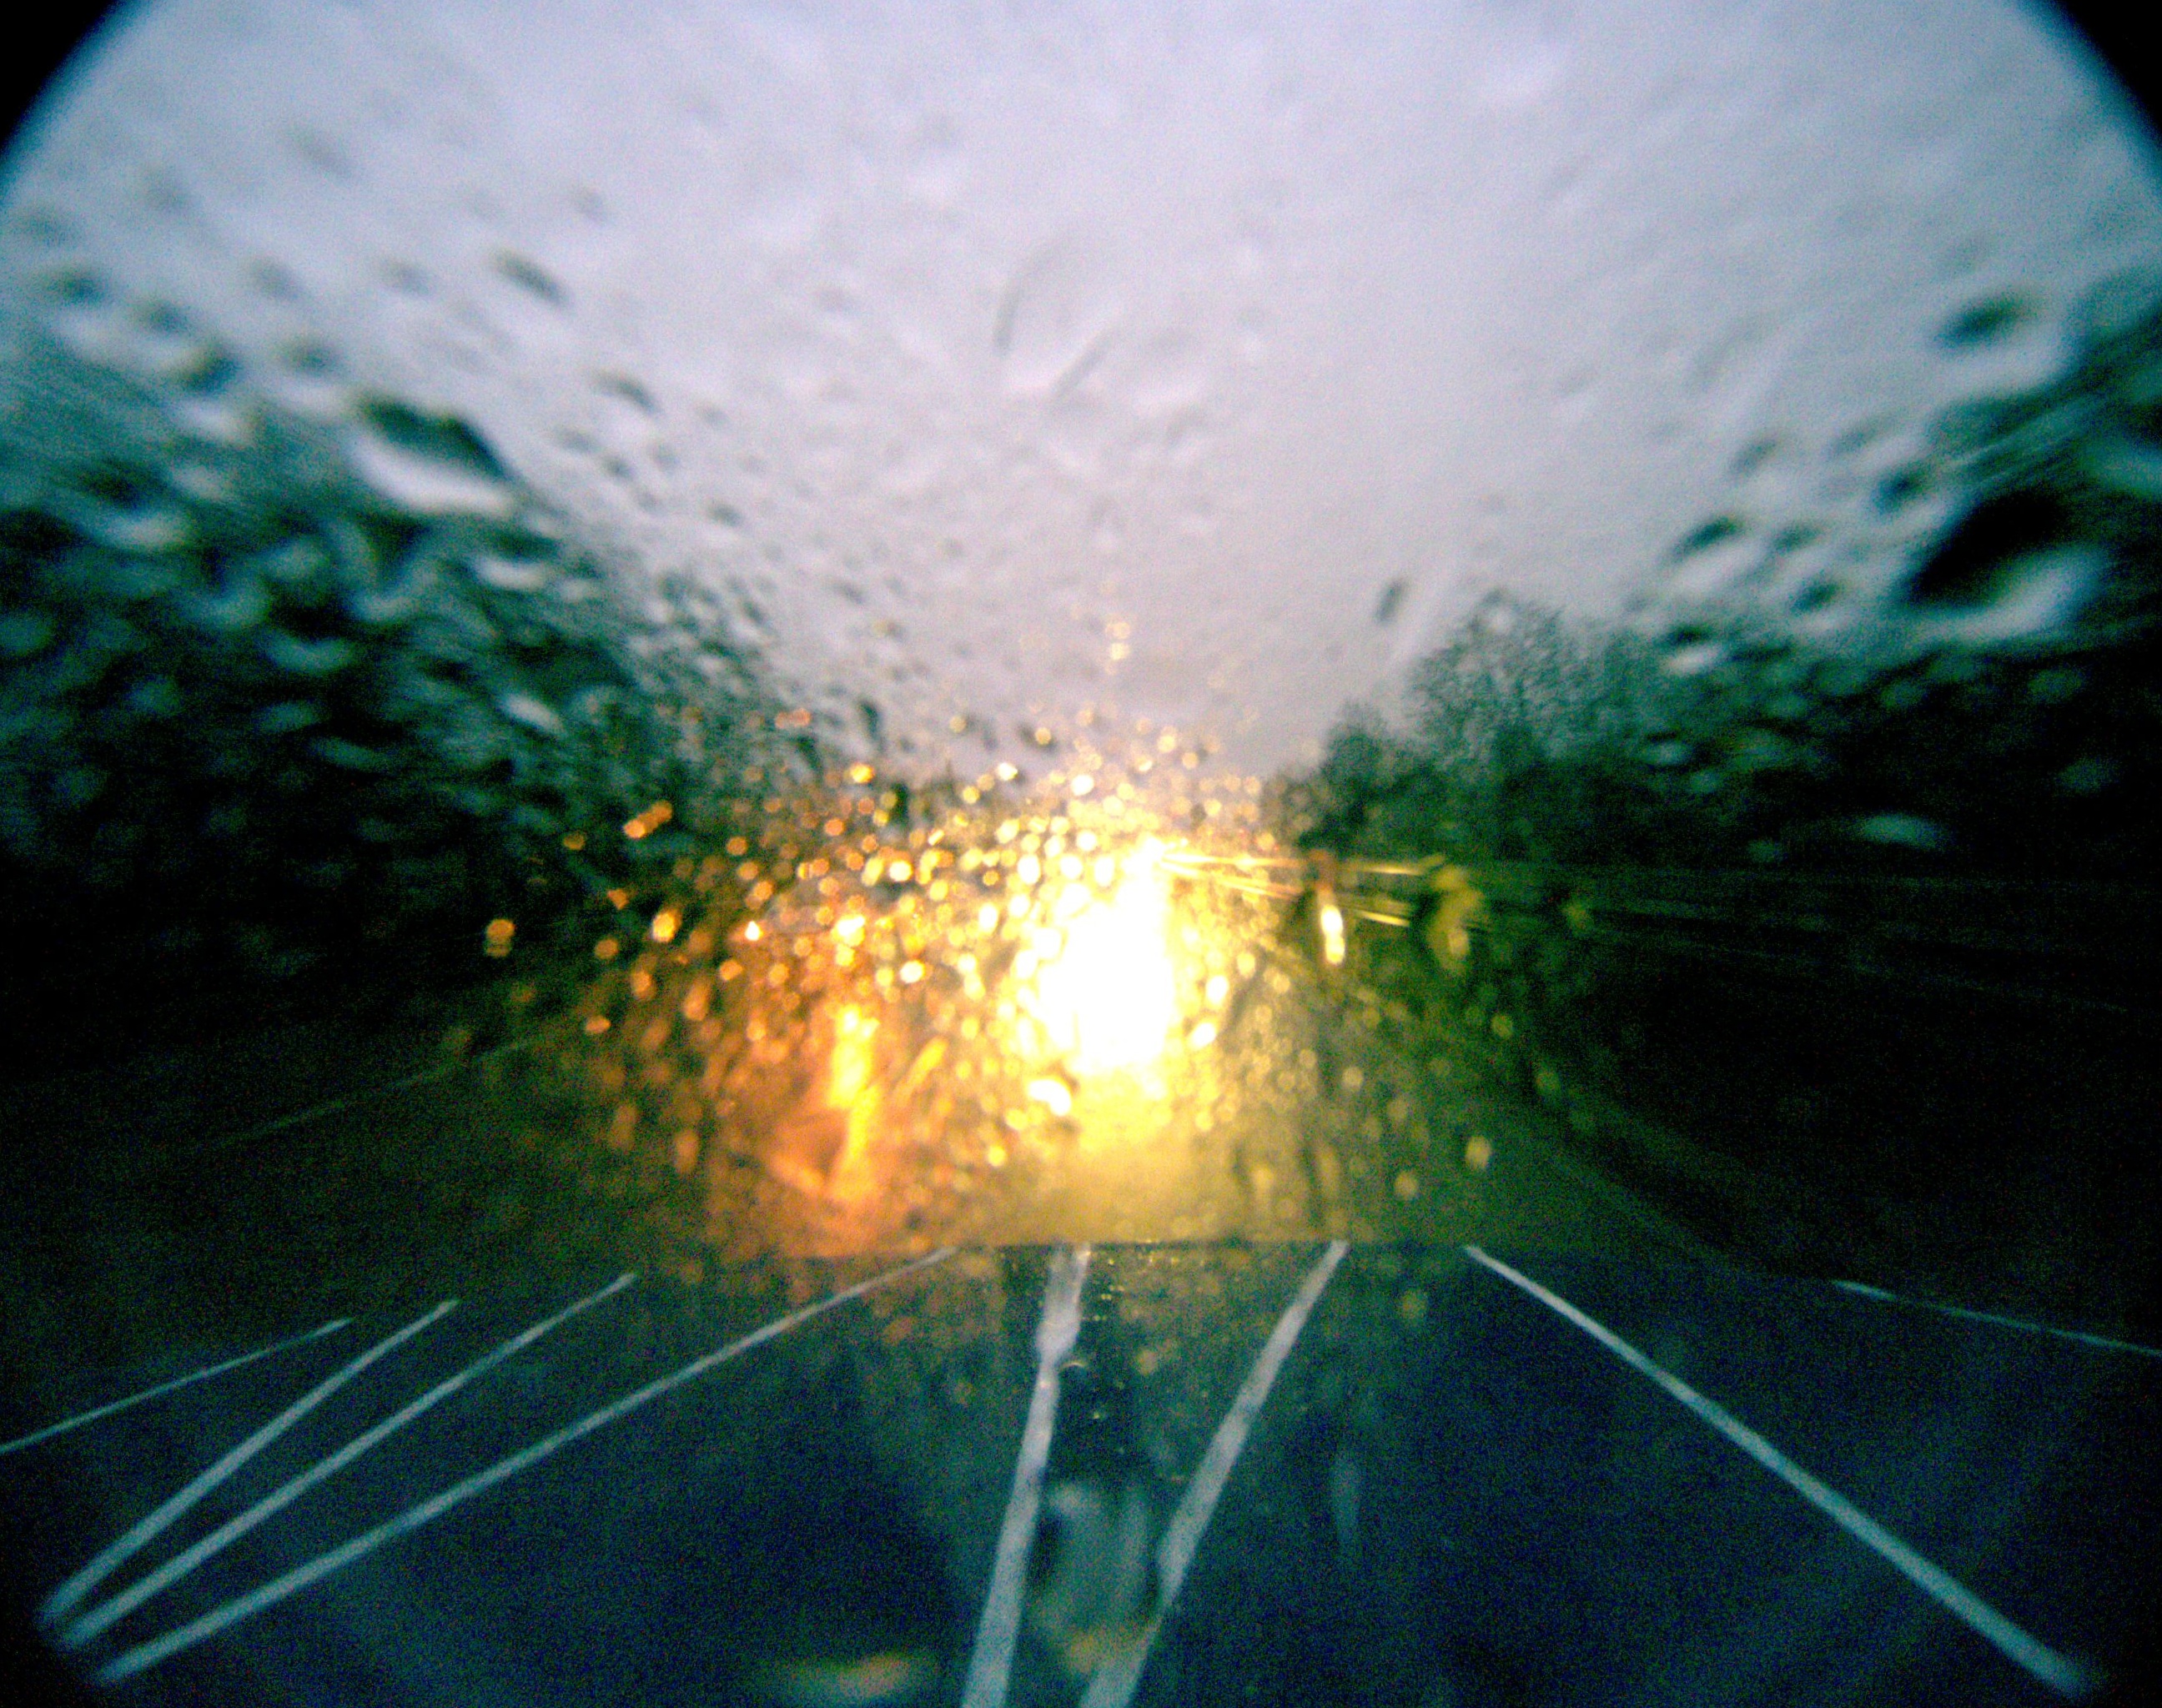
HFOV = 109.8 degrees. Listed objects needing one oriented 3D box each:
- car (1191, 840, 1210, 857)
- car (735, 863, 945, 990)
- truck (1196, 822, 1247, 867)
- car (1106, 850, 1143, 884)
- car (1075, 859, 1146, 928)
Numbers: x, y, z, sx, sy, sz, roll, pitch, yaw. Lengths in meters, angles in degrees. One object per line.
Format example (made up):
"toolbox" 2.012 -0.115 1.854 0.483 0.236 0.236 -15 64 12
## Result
"car" 15.161 -0.722 96.497 1.991 1.820 5.119 -4 1 5
"car" -3.737 1.036 12.695 1.854 1.493 4.262 -4 1 3
"truck" 10.920 -0.824 59.714 2.721 3.143 7.728 -4 1 2
"car" 2.335 0.642 40.048 1.758 1.521 4.000 -4 1 5
"car" 0.759 0.947 20.060 1.595 1.445 4.176 -4 1 2
